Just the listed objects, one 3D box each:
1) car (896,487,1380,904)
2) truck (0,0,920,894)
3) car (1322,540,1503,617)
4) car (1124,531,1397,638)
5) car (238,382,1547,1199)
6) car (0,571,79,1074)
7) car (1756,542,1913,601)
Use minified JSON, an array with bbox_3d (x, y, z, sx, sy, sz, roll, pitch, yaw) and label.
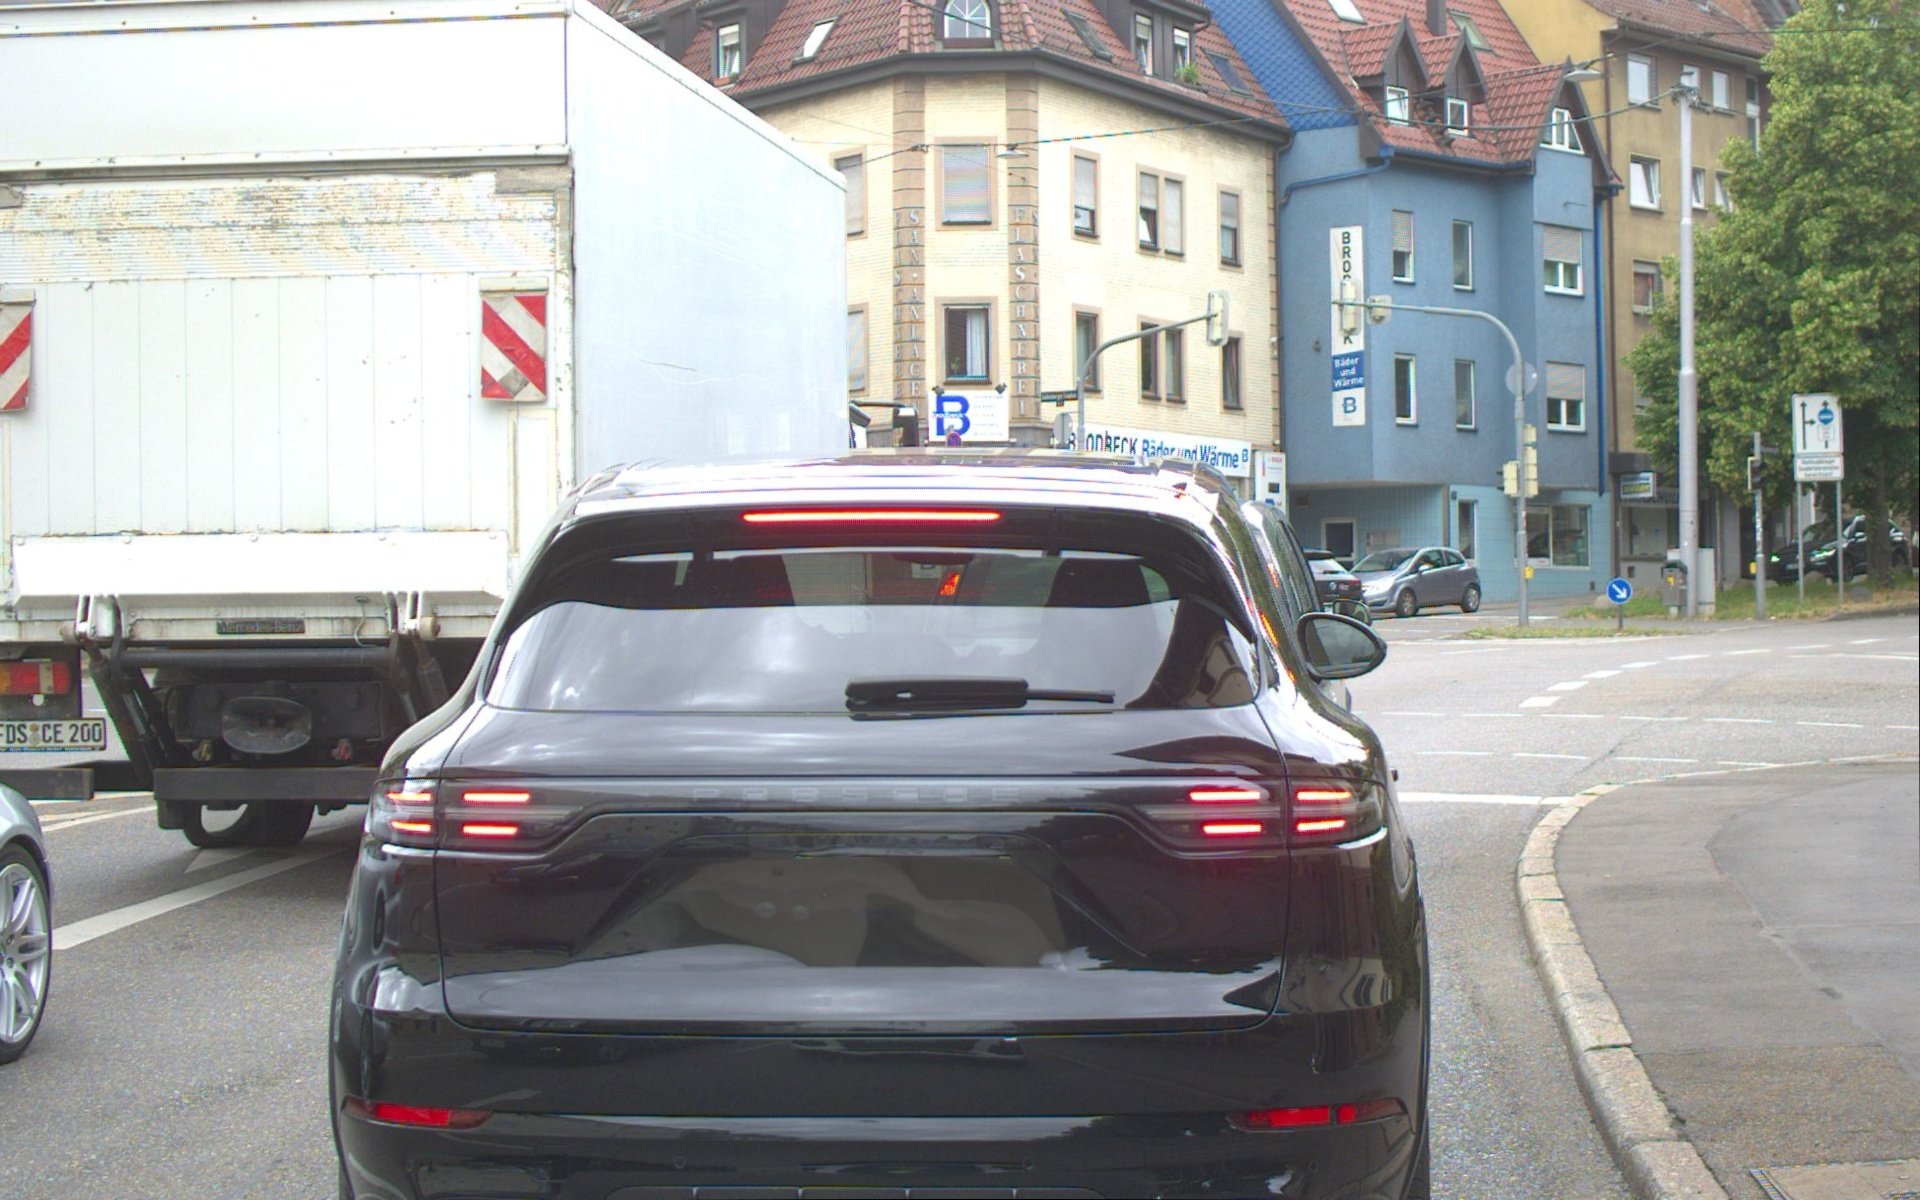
[{"bbox_3d":[0.881,0.341,14.802,1.649,1.550,3.581,1,1,10],"label":"car"},{"bbox_3d":[-2.209,-0.722,17.327,2.726,3.532,8.419,-1,1,8],"label":"truck"},{"bbox_3d":[9.433,-0.430,71.427,1.720,1.471,4.208,0,-1,40],"label":"car"},{"bbox_3d":[4.619,-0.262,53.292,1.994,1.525,3.999,0,2,-38],"label":"car"},{"bbox_3d":[-0.134,0.501,7.632,2.031,1.717,4.500,1,1,-1],"label":"car"},{"bbox_3d":[-3.521,0.650,8.010,1.629,1.360,4.128,-1,1,4],"label":"car"},{"bbox_3d":[21.805,-0.711,85.641,1.874,1.411,4.687,1,1,41],"label":"car"}]
